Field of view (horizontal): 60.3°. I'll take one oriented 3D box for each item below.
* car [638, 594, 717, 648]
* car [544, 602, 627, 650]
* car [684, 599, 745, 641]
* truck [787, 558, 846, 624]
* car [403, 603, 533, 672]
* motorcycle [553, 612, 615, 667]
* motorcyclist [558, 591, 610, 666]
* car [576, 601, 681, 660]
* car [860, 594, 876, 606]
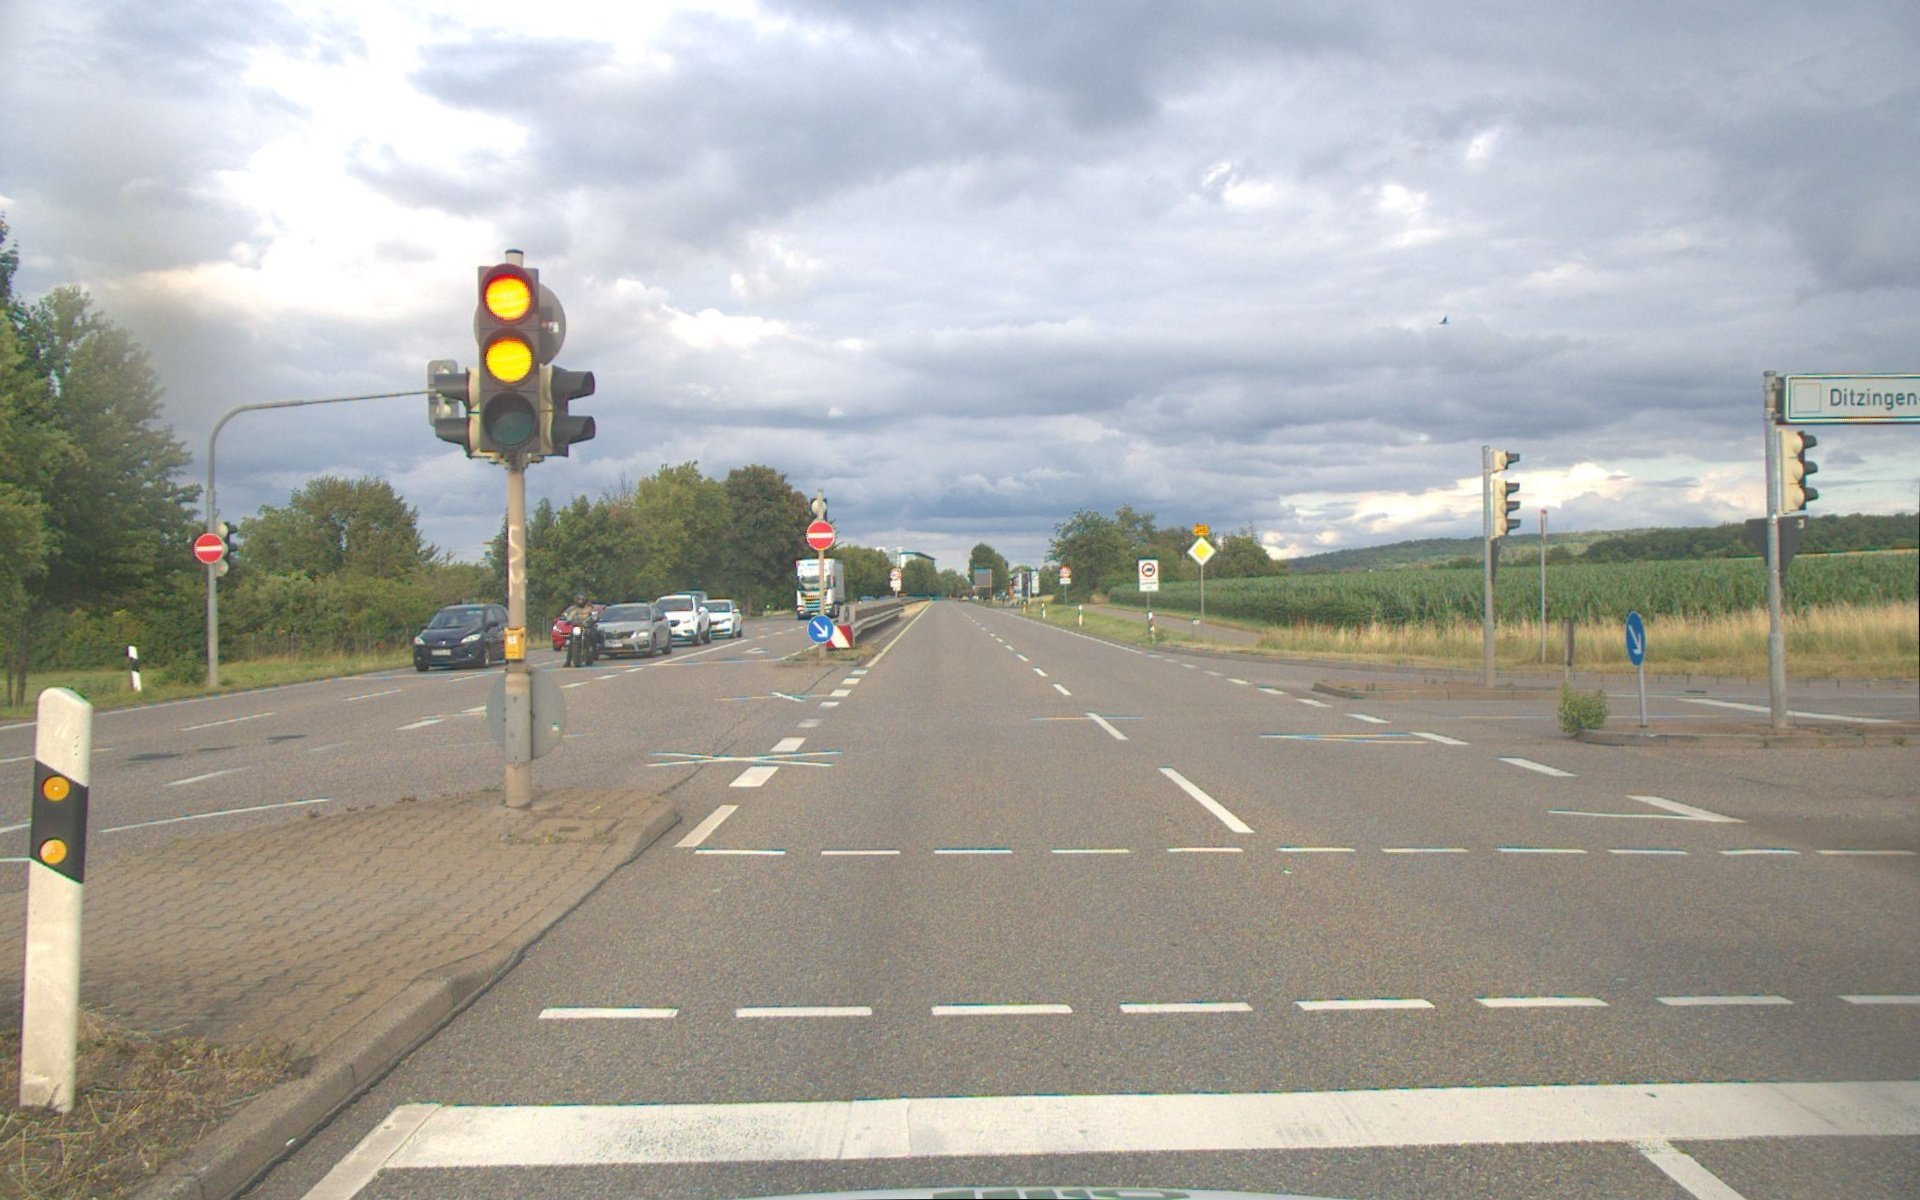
[{"bbox_3d":[-9.221,0.652,54.380,1.869,1.638,4.404,-2,0,-1],"label":"car"},{"bbox_3d":[-12.699,0.849,56.302,1.869,1.490,4.183,-2,0,-1],"label":"car"},{"bbox_3d":[-9.307,0.724,62.957,1.752,1.469,4.159,-2,0,-1],"label":"car"},{"bbox_3d":[-9.710,-0.586,112.721,3.404,4.223,6.048,-3,0,-1],"label":"truck"},{"bbox_3d":[-12.513,0.911,42.382,1.869,1.562,4.938,-2,0,-1],"label":"car"},{"bbox_3d":[-8.978,0.930,39.568,0.897,1.224,2.478,-2,0,0],"label":"motorcycle"},{"bbox_3d":[-8.977,0.675,39.568,0.897,1.738,1.276,-2,0,-1],"label":"motorcyclist"},{"bbox_3d":[-8.965,0.789,45.121,1.869,1.453,5.151,-2,0,-1],"label":"car"},{"bbox_3d":[-11.701,-0.001,210.208,1.752,1.410,4.159,-2,0,-1],"label":"car"}]
